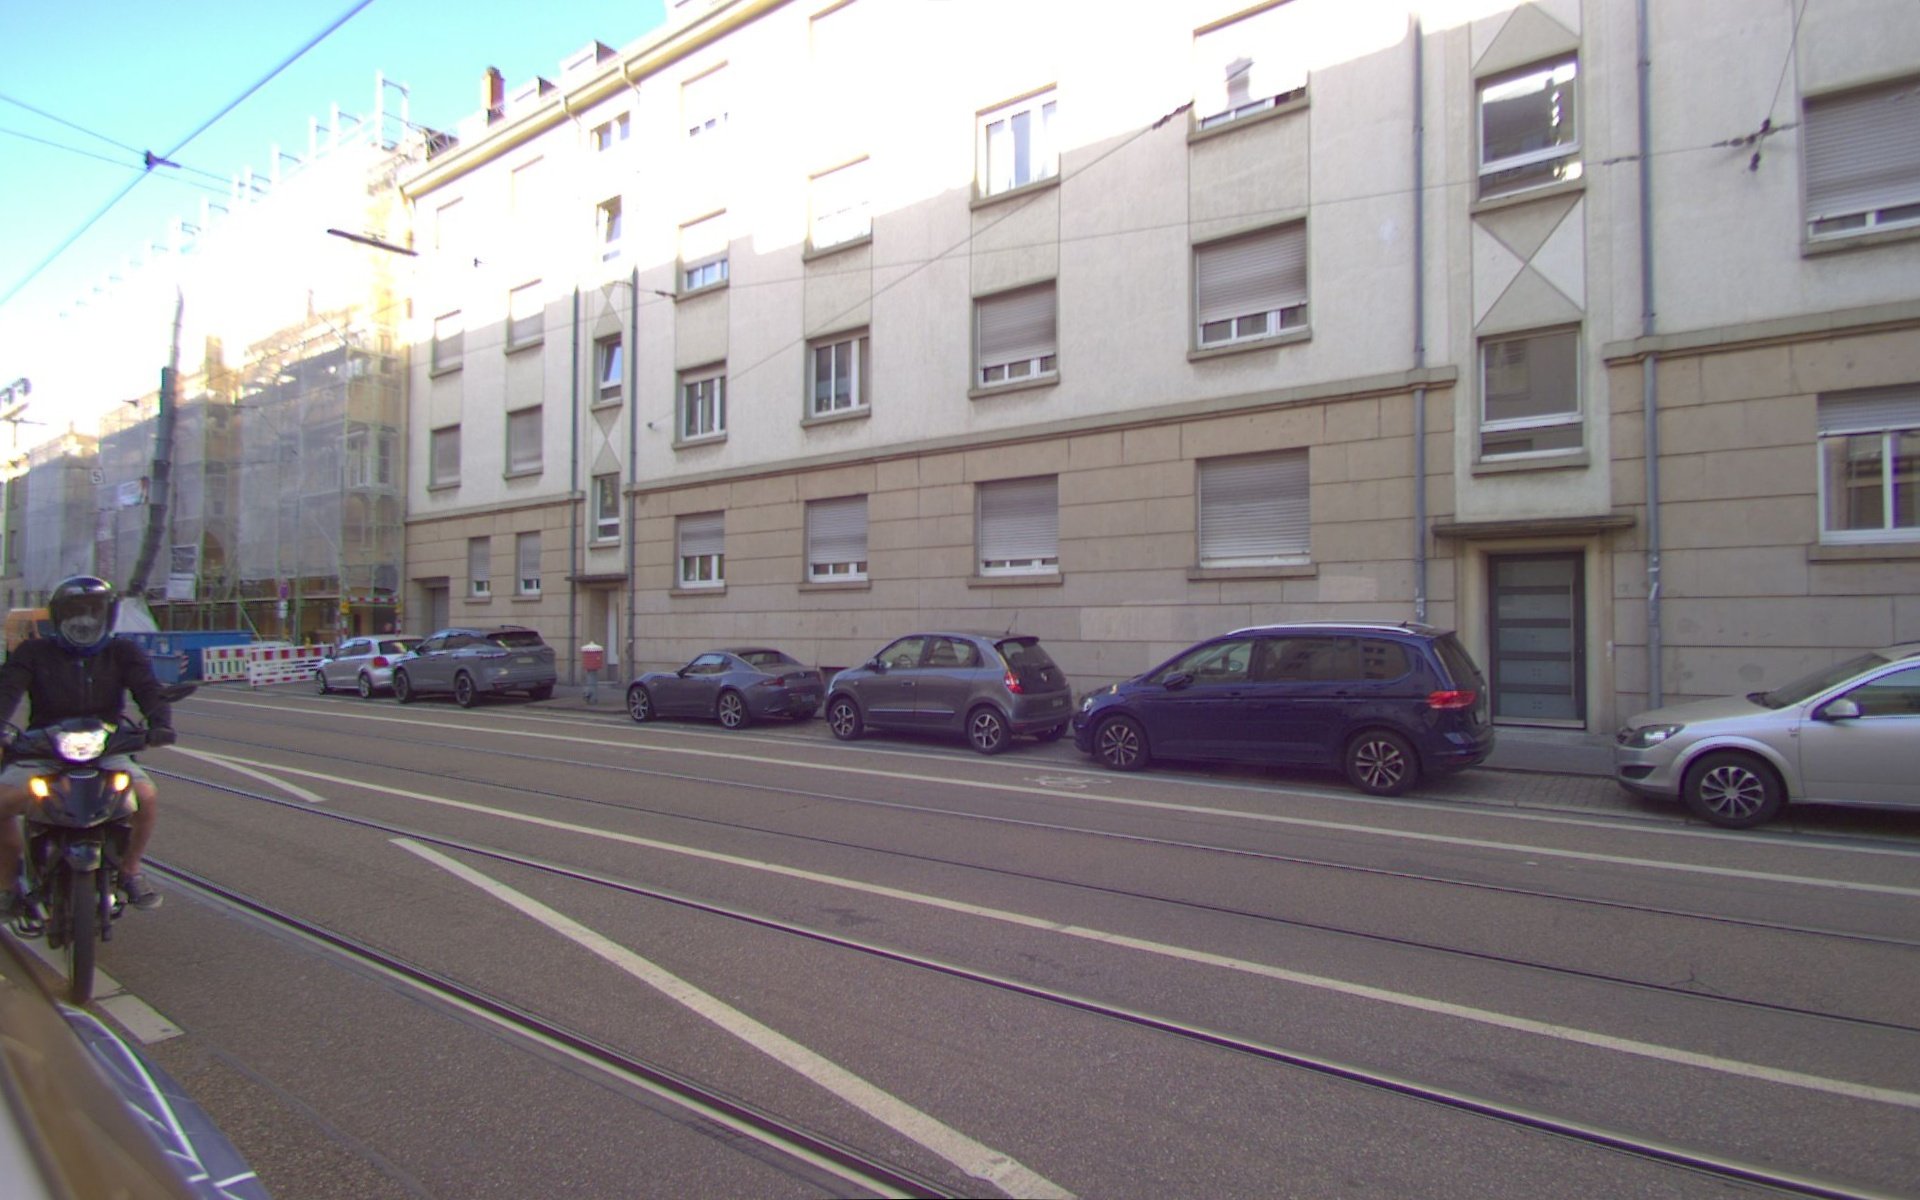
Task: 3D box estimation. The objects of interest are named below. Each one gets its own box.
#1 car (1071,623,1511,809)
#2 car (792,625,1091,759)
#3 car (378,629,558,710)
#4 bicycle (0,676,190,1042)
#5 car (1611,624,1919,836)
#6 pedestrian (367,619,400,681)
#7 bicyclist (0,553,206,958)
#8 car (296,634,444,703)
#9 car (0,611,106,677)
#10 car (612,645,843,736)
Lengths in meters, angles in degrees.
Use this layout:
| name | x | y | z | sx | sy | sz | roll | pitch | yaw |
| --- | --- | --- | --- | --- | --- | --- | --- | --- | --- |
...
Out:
| name | x | y | z | sx | sy | sz | roll | pitch | yaw |
| --- | --- | --- | --- | --- | --- | --- | --- | --- | --- |
| car | 3.474 | 1.081 | 11.008 | 4.236 | 1.627 | 1.684 | -1 | -1 | 36 |
| car | -0.340 | 1.158 | 14.137 | 3.993 | 1.581 | 1.683 | -1 | -1 | 37 |
| car | -10.650 | 1.430 | 21.792 | 4.398 | 1.580 | 1.683 | -2 | -3 | 37 |
| bicycle | -3.810 | 0.952 | 4.321 | 0.728 | 1.186 | 1.979 | 2 | -3 | -35 |
| car | 7.774 | 0.971 | 7.945 | 4.378 | 1.521 | 1.684 | -1 | -1 | 37 |
| pedestrian | -16.249 | 1.411 | 28.516 | 0.715 | 1.707 | 0.575 | -2 | -1 | 36 |
| bicyclist | -3.824 | 0.618 | 4.375 | 0.830 | 1.566 | 0.852 | 2 | -3 | -34 |
| car | -14.353 | 1.605 | 24.541 | 3.993 | 1.426 | 1.684 | -1 | 1 | 37 |
| car | -36.440 | 1.771 | 40.543 | 5.990 | 2.488 | 2.100 | -2 | -3 | 37 |
| car | -3.918 | 1.425 | 16.842 | 3.777 | 1.225 | 1.684 | -1 | -1 | 36 |
